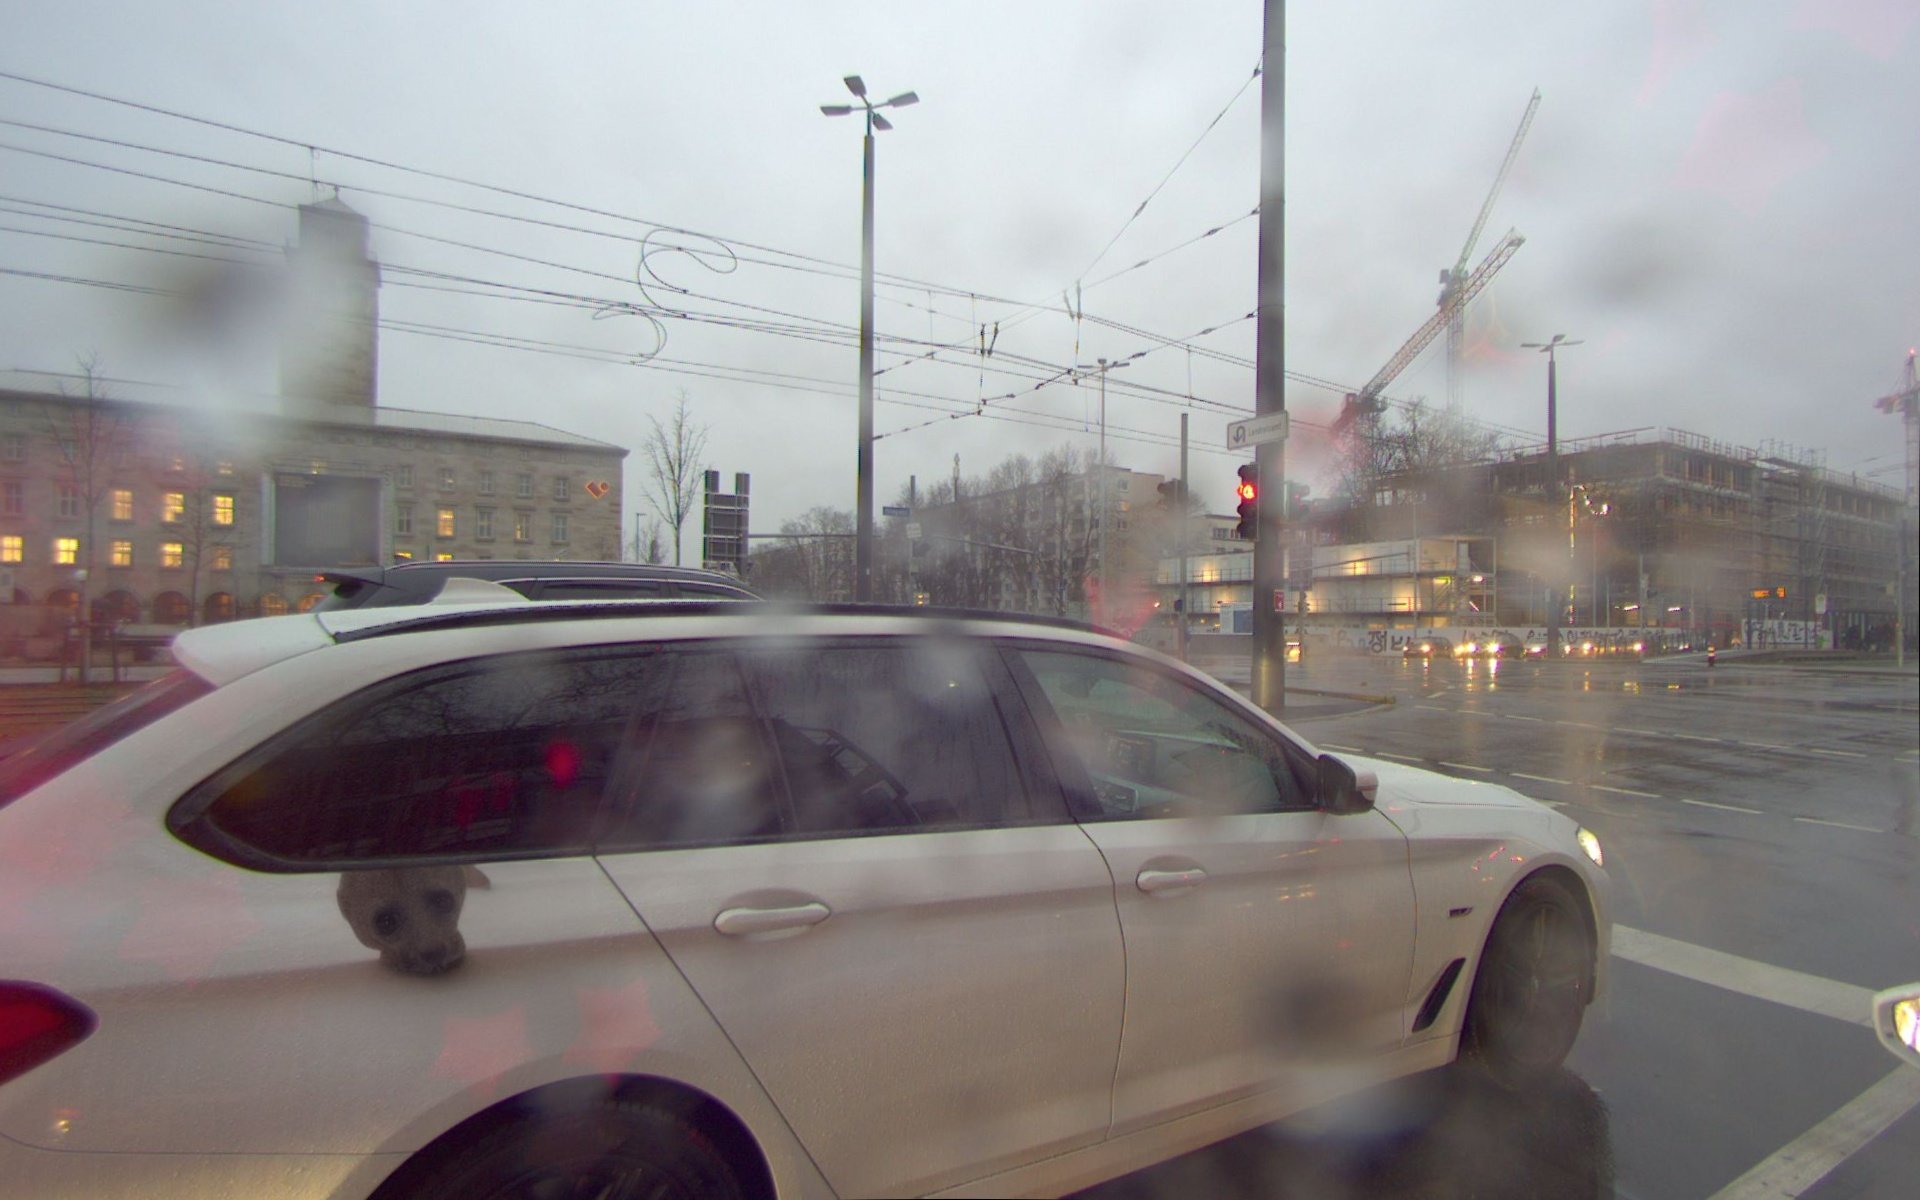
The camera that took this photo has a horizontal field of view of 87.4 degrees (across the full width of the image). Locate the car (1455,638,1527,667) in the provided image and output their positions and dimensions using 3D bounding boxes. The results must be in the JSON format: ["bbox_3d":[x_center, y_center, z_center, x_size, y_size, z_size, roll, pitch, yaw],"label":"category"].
[{"bbox_3d":[31.256,3.076,59.145,3.953,1.679,1.984,2,-2,-30],"label":"car"}]

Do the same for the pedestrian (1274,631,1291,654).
[{"bbox_3d":[20.207,2.662,62.944,0.714,1.407,0.726,2,0,-23],"label":"pedestrian"}]

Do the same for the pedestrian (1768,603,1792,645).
[{"bbox_3d":[47.262,1.365,57.901,0.754,2.354,0.761,3,-1,-30],"label":"pedestrian"}]

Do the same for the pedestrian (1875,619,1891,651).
[{"bbox_3d":[57.968,2.193,63.082,0.659,1.994,0.566,2,1,-36],"label":"pedestrian"}]

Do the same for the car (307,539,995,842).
[{"bbox_3d":[-2.063,0.555,7.237,4.238,1.605,1.958,2,-1,-29],"label":"car"}]

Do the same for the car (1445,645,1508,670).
[{"bbox_3d":[34.700,3.851,67.527,3.953,1.550,1.984,2,-2,-30],"label":"car"}]

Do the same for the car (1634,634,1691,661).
[{"bbox_3d":[51.270,3.441,73.277,3.955,1.814,1.983,2,0,-32],"label":"car"}]

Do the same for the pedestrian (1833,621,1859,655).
[{"bbox_3d":[55.400,2.362,62.817,1.082,2.040,0.937,2,0,-32],"label":"pedestrian"}]

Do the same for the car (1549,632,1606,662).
[{"bbox_3d":[40.914,3.117,66.537,3.963,1.852,1.852,2,0,-37],"label":"car"}]

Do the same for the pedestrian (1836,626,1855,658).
[{"bbox_3d":[54.371,2.593,61.660,0.547,1.906,0.695,2,0,-30],"label":"pedestrian"}]

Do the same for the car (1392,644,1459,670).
[{"bbox_3d":[29.432,3.581,63.544,3.953,1.550,1.984,2,-2,-30],"label":"car"}]

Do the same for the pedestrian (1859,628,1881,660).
[{"bbox_3d":[56.341,2.700,62.210,0.754,1.922,0.761,3,-1,-30],"label":"pedestrian"}]

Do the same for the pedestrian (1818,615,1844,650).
[{"bbox_3d":[53.258,1.986,61.431,1.082,2.040,0.936,2,0,-33],"label":"pedestrian"}]

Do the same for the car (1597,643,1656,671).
[{"bbox_3d":[46.652,3.962,70.271,3.955,1.814,1.983,2,0,-32],"label":"car"}]

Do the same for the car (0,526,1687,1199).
[{"bbox_3d":[0.021,0.730,3.088,4.508,1.506,2.007,2,-2,-31],"label":"car"}]

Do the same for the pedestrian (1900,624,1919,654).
[{"bbox_3d":[66.126,2.721,69.821,1.084,2.040,0.935,2,0,-38],"label":"pedestrian"}]

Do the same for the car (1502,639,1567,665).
[{"bbox_3d":[35.887,3.246,62.719,4.577,1.550,2.059,2,-2,-40],"label":"car"}]
